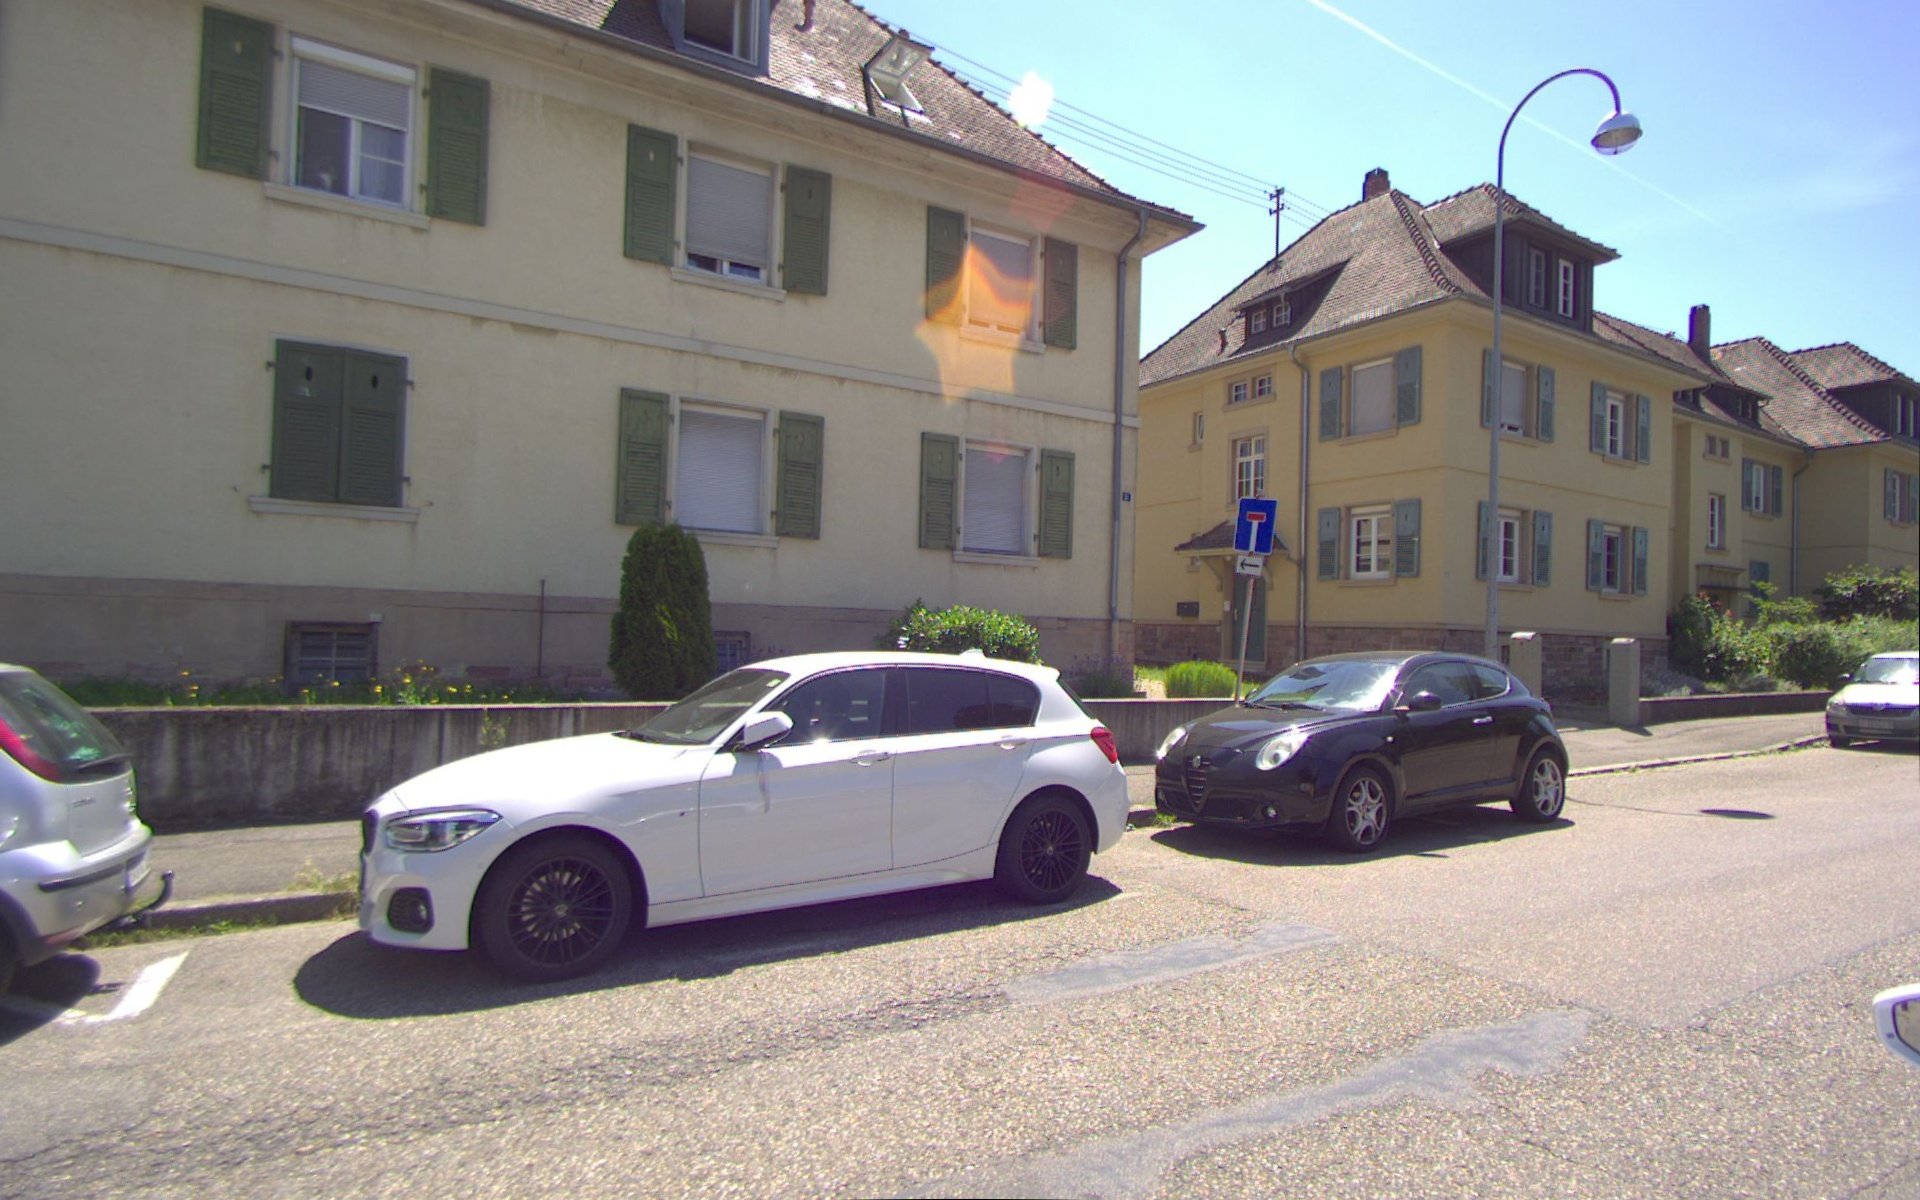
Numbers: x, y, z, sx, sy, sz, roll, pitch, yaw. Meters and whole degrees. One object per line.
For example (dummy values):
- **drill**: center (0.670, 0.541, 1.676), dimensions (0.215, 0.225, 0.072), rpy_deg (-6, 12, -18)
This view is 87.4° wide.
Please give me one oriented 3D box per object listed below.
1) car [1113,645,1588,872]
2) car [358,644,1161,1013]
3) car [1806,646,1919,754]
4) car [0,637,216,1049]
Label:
- **car**: center (3.381, 1.177, 8.508), dimensions (4.032, 1.504, 1.706), rpy_deg (3, -4, -32)
- **car**: center (-1.006, 1.009, 5.778), dimensions (4.172, 1.420, 1.785), rpy_deg (3, -4, -32)
- **car**: center (15.233, 1.523, 15.873), dimensions (4.018, 1.545, 1.678), rpy_deg (2, -4, -32)
- **car**: center (-5.170, 0.850, 3.542), dimensions (3.881, 1.466, 1.750), rpy_deg (2, -4, -32)
